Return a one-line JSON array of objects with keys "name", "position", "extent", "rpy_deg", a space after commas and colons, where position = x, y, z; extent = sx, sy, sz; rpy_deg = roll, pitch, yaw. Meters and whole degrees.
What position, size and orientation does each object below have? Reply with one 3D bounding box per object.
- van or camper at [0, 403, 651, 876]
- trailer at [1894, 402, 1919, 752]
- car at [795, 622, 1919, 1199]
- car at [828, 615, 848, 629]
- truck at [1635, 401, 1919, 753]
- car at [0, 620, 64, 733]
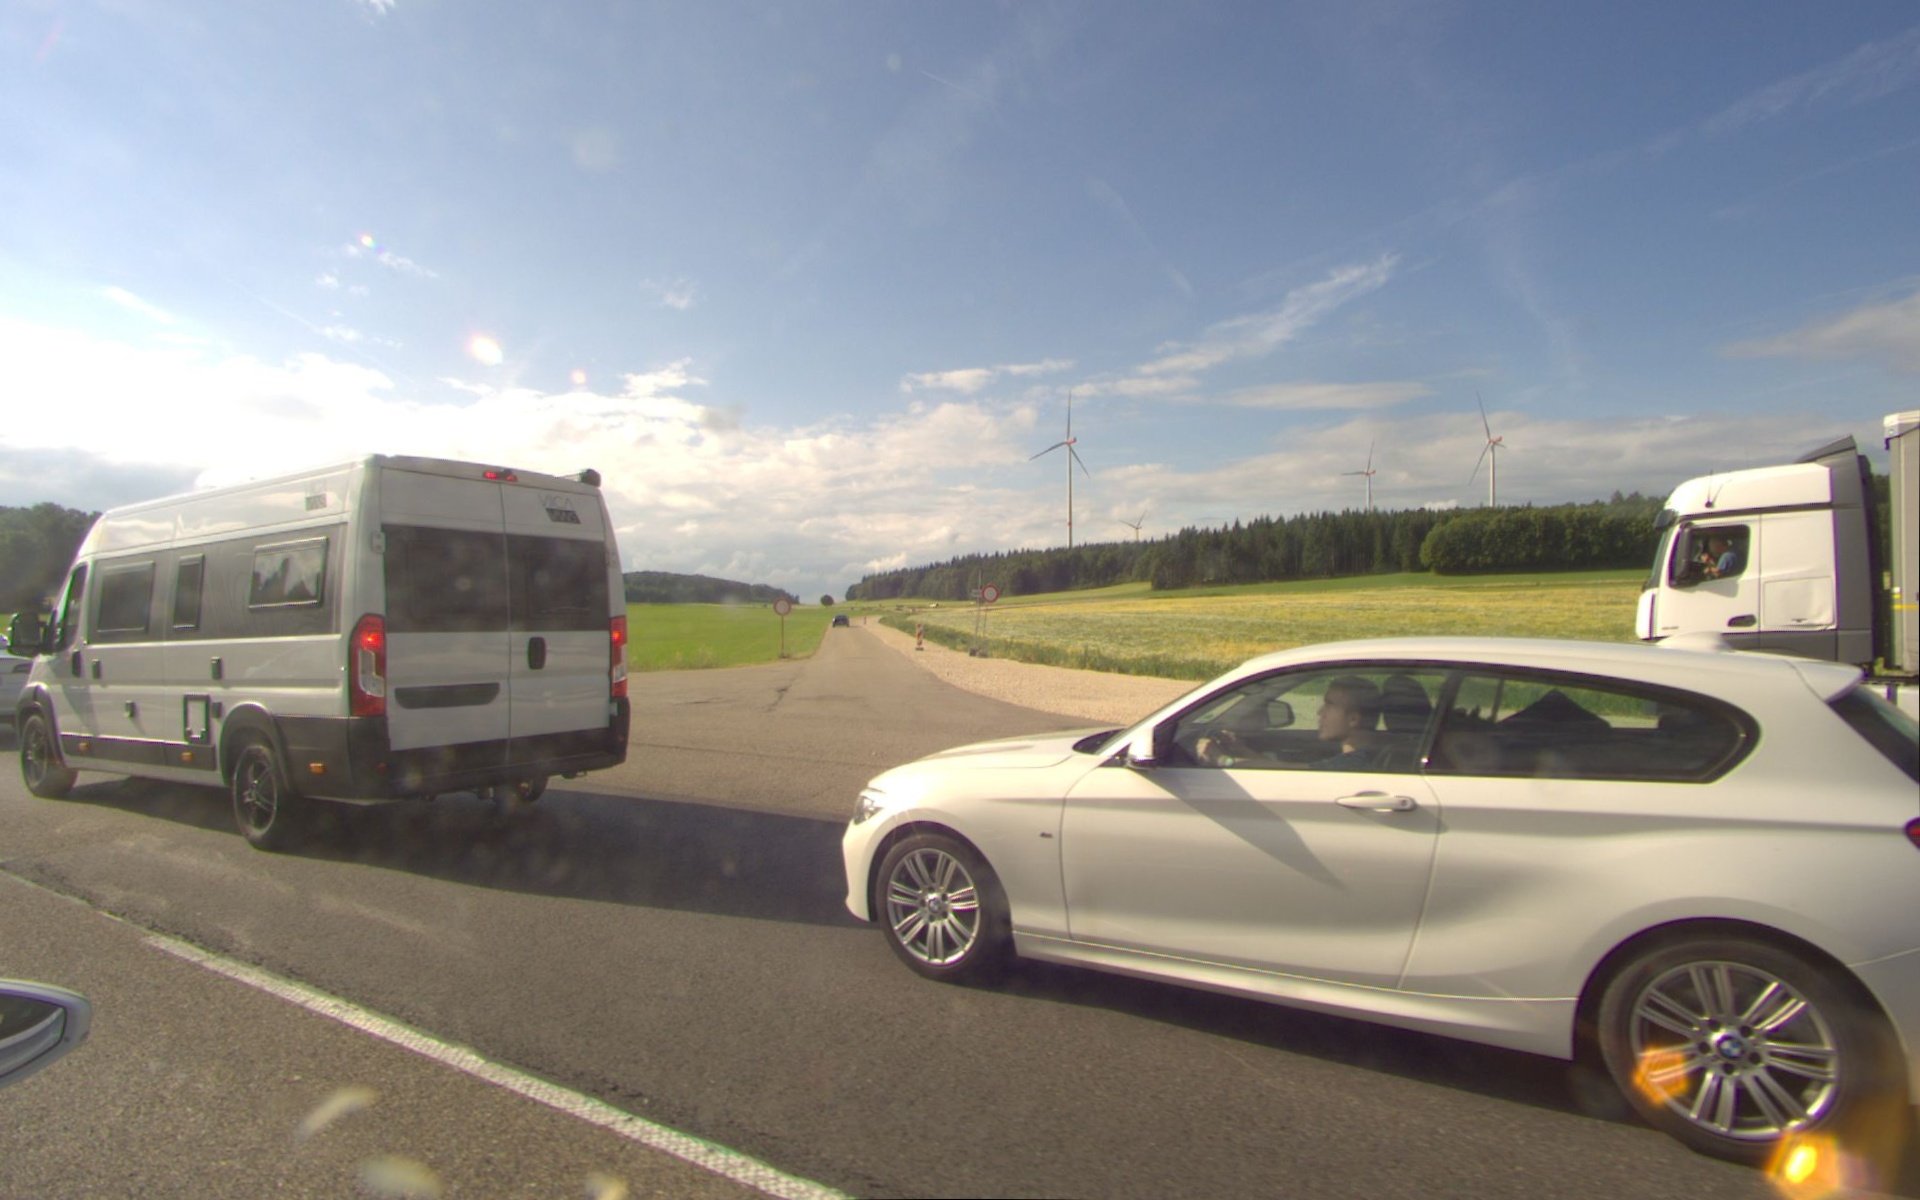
[{"name": "van or camper", "position": [-5.570, 0.276, 8.370], "extent": [6.242, 2.716, 2.211], "rpy_deg": [-1, -1, 32]}, {"name": "trailer", "position": [17.055, -0.332, 8.174], "extent": [2.717, 4.214, 13.695], "rpy_deg": [1, -2, -43]}, {"name": "car", "position": [1.473, 0.833, 4.075], "extent": [4.171, 1.450, 1.701], "rpy_deg": [-1, -2, 32]}, {"name": "car", "position": [-13.823, 2.501, 113.468], "extent": [1.798, 1.450, 4.229], "rpy_deg": [1, -2, -12]}, {"name": "truck", "position": [12.138, -0.239, 13.399], "extent": [2.696, 4.227, 4.714], "rpy_deg": [1, -1, -44]}, {"name": "car", "position": [-14.162, 0.981, 13.603], "extent": [4.371, 1.412, 1.786], "rpy_deg": [0, -1, 31]}]
